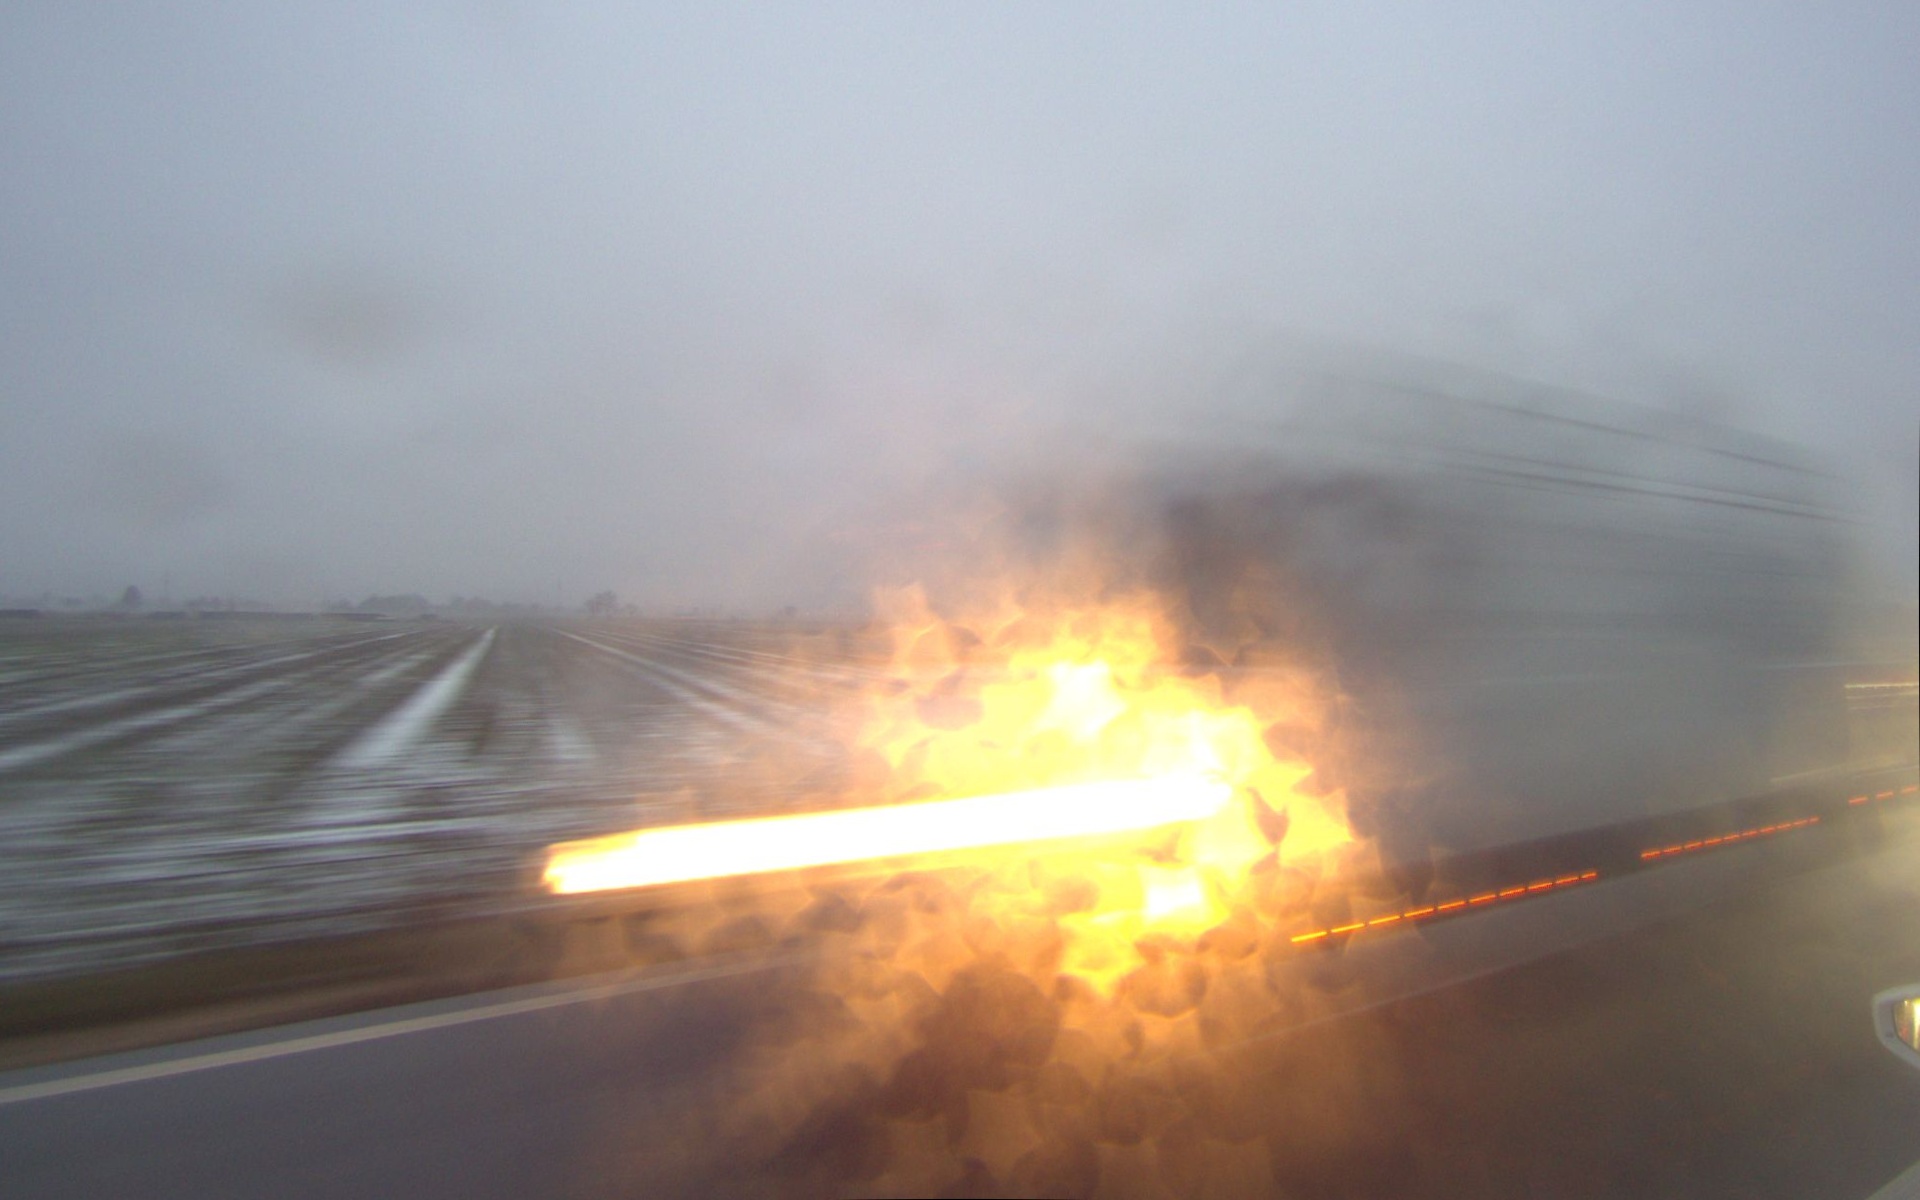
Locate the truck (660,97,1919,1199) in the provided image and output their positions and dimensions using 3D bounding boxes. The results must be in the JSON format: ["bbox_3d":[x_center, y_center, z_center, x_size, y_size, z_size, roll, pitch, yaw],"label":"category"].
[{"bbox_3d":[2.294,0.316,5.016,6.954,2.668,2.259,1,-4,-31],"label":"truck"}]
